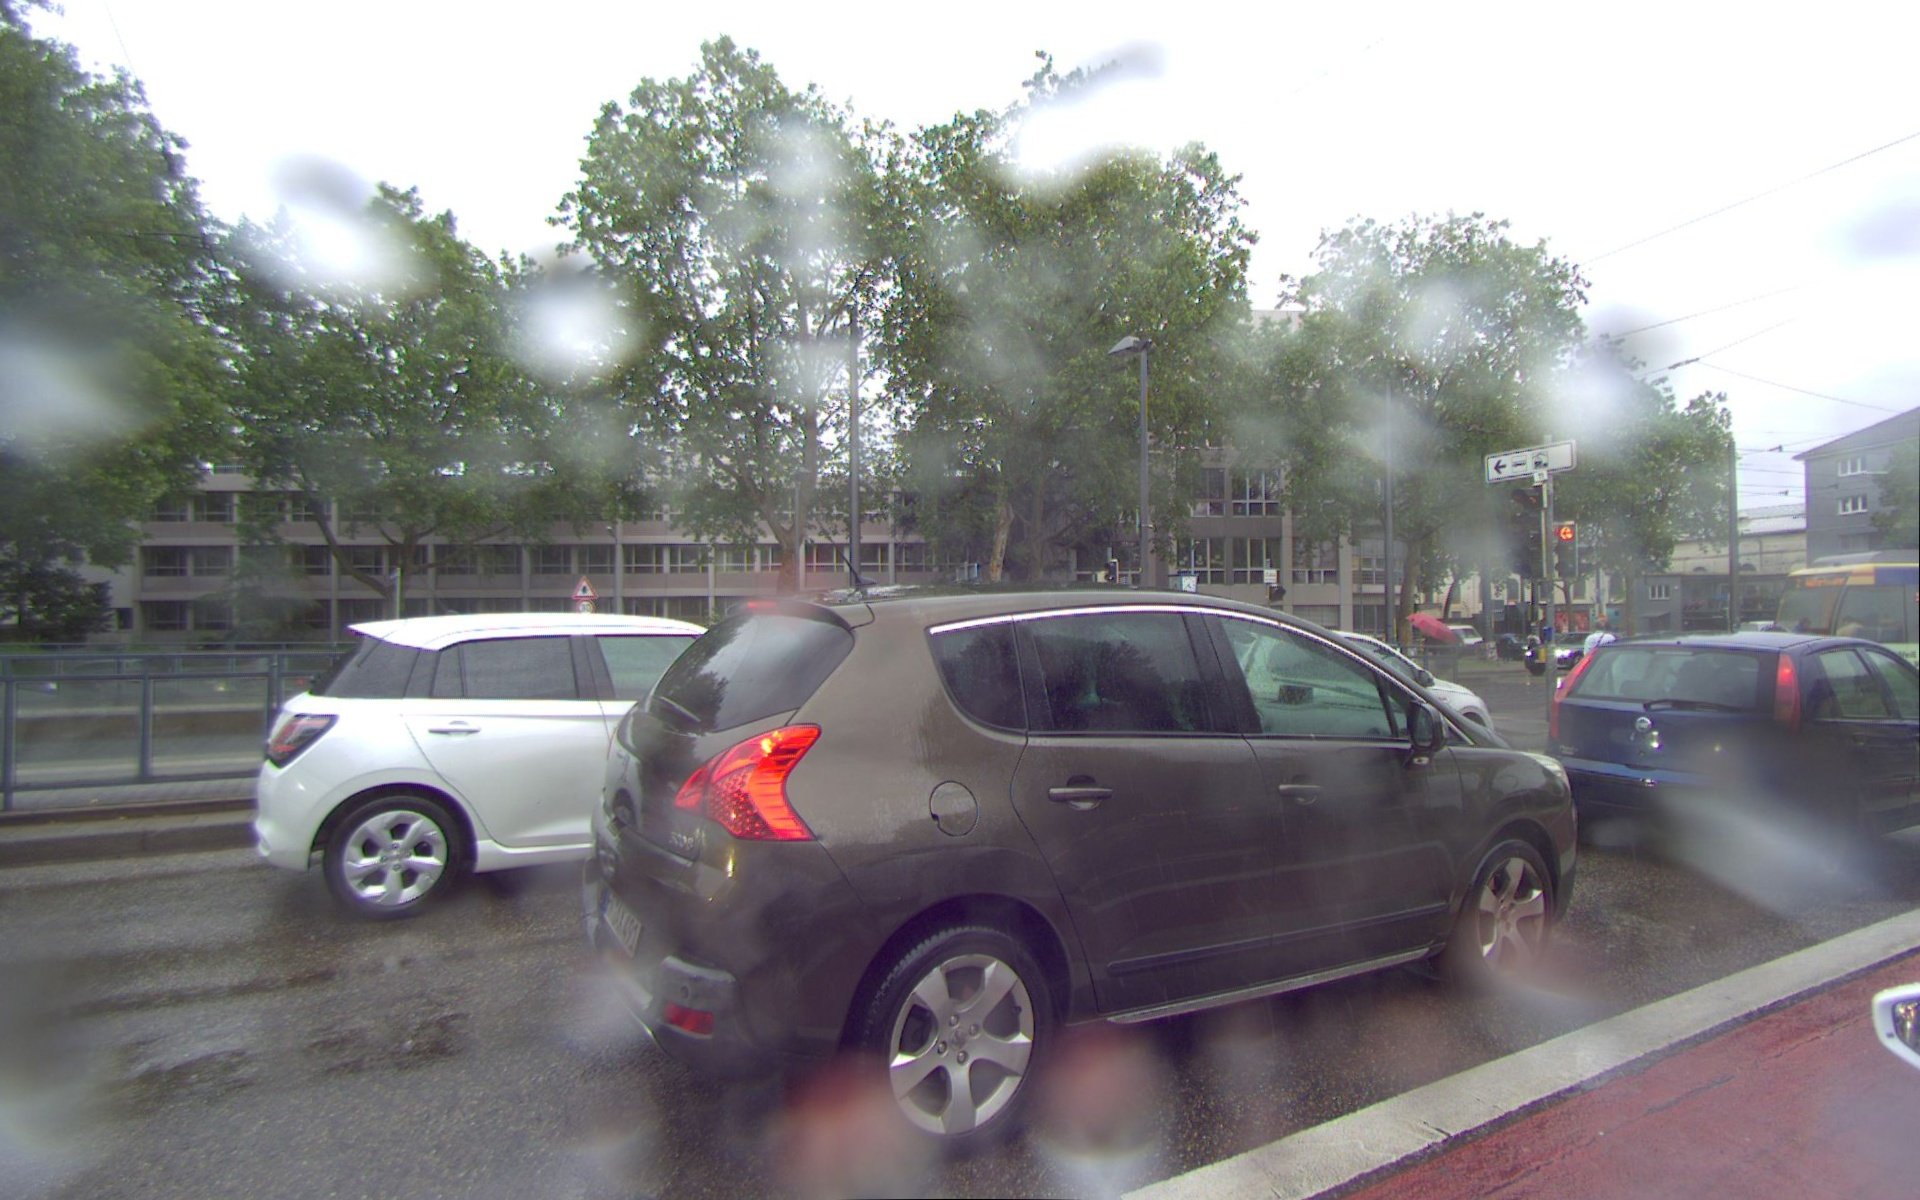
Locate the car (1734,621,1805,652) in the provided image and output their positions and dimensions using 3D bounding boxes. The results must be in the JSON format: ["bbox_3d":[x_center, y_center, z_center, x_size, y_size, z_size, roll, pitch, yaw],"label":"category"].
[{"bbox_3d":[59.397,2.670,73.732,4.024,2.161,1.642,1,0,-3],"label":"car"}]

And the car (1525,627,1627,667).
[{"bbox_3d":[23.373,1.767,38.102,3.953,1.405,1.637,2,-1,-30],"label":"car"}]

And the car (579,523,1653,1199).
[{"bbox_3d":[0.776,0.719,4.110,4.124,1.690,1.825,2,-1,-30],"label":"car"}]

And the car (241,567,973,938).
[{"bbox_3d":[-1.958,0.736,6.157,3.791,1.650,1.637,1,-2,-30],"label":"car"}]

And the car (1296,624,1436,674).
[{"bbox_3d":[11.583,1.382,28.679,3.466,1.331,1.594,1,-1,-16],"label":"car"}]

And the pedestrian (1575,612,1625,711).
[{"bbox_3d":[10.973,1.032,17.219,0.617,1.628,0.738,1,0,40],"label":"pedestrian"}]

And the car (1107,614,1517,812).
[{"bbox_3d":[3.375,0.934,9.478,3.737,1.514,1.621,2,-1,-30],"label":"car"}]

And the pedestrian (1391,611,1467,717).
[{"bbox_3d":[8.076,1.086,17.310,0.888,1.769,0.762,0,-3,-30],"label":"pedestrian"}]

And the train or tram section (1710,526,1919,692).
[{"bbox_3d":[25.621,0.346,23.346,13.386,3.559,3.525,2,0,3],"label":"train or tram section"}]

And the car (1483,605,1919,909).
[{"bbox_3d":[5.603,0.876,7.023,3.776,1.599,1.719,1,-1,-30],"label":"car"}]
